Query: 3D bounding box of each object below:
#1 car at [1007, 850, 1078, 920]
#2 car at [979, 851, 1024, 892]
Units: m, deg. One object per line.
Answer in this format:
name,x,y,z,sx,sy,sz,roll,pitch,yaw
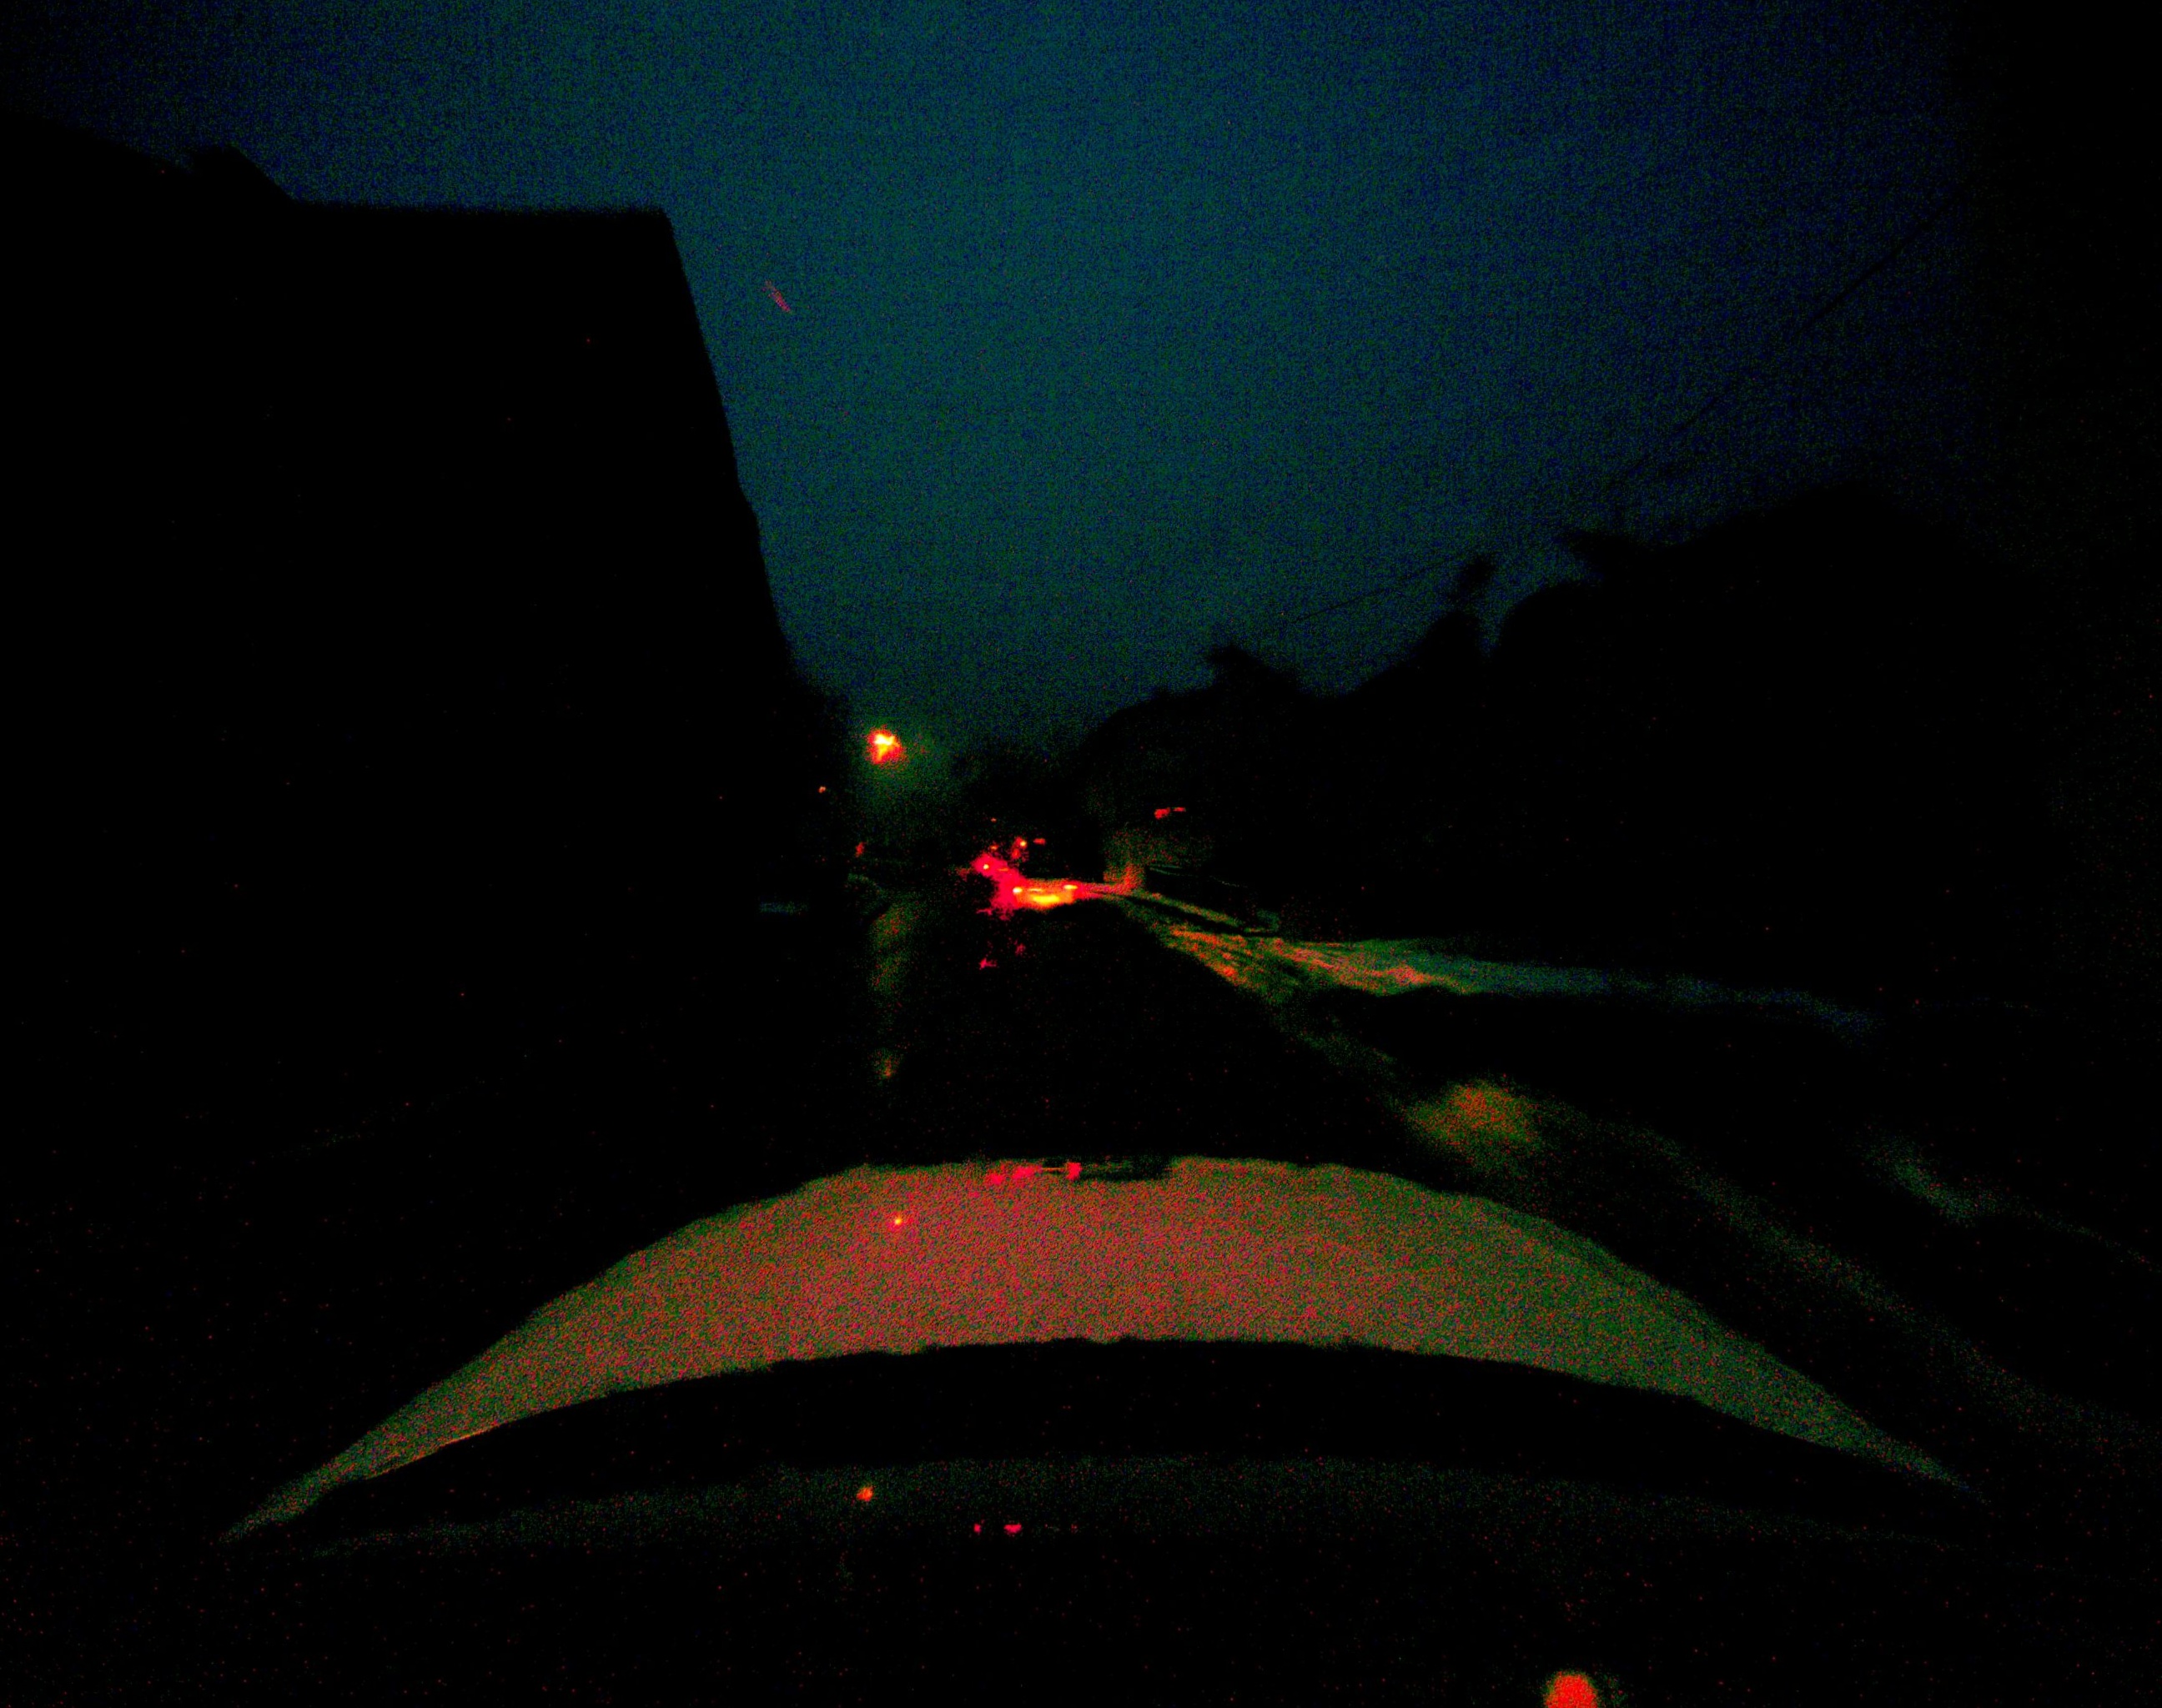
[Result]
car,-0.976,0.783,20.819,1.641,1.596,3.695,1,-2,-3
car,-3.380,0.764,34.110,1.644,1.596,3.688,1,-2,-8
